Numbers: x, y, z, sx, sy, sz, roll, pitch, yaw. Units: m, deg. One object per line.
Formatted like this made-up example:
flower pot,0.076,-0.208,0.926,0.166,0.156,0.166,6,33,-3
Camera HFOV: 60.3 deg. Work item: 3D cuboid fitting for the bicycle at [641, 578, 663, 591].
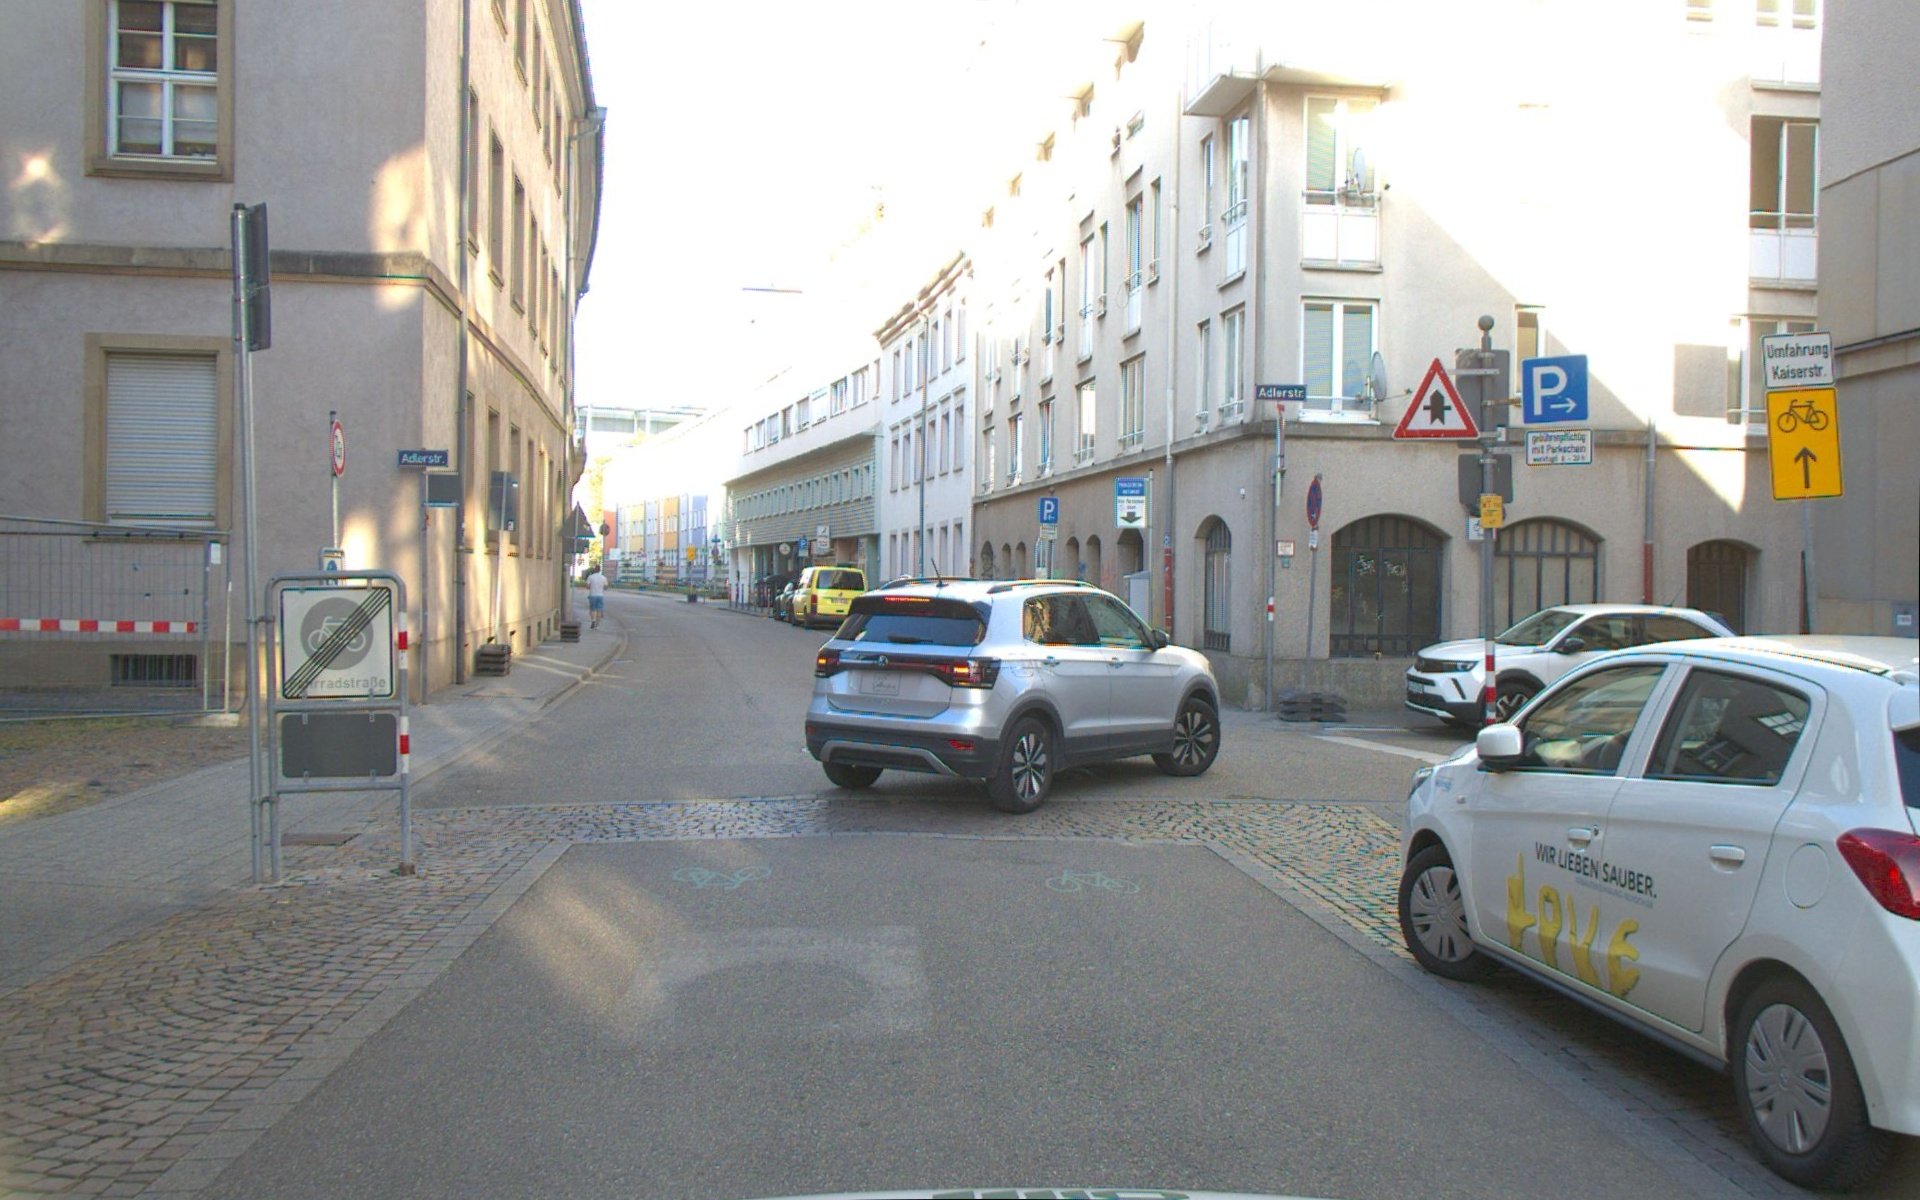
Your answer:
bicycle,-26.058,-1.326,139.932,1.751,1.018,0.544,1,0,-16

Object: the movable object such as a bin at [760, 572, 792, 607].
movable object such as a bin,-8.478,-0.471,76.142,1.114,1.585,1.731,1,1,-17

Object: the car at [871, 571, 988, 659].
car,-0.730,0.270,35.730,1.932,1.721,4.093,2,1,-9

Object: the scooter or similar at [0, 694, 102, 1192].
scooter or similar,-2.921,0.894,4.010,0.684,1.238,1.356,0,1,25

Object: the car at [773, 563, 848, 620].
car,-5.271,-0.306,57.814,2.018,1.905,4.086,1,1,-14

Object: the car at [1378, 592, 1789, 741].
car,7.303,0.753,19.632,4.132,1.580,1.901,1,1,-4

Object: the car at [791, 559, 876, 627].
car,-4.025,-0.252,52.074,2.018,2.049,4.160,1,1,-14

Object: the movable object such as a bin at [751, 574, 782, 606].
movable object such as a bin,-9.104,-0.478,77.822,1.114,1.505,1.731,1,1,-17

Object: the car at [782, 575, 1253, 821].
car,0.602,0.603,12.870,1.805,1.589,3.986,1,1,35

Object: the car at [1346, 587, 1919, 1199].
car,3.007,0.757,6.026,1.852,1.544,4.057,1,1,-6

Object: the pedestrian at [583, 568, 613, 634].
pedestrian,-9.764,0.013,44.617,0.753,1.754,0.684,1,0,-15
